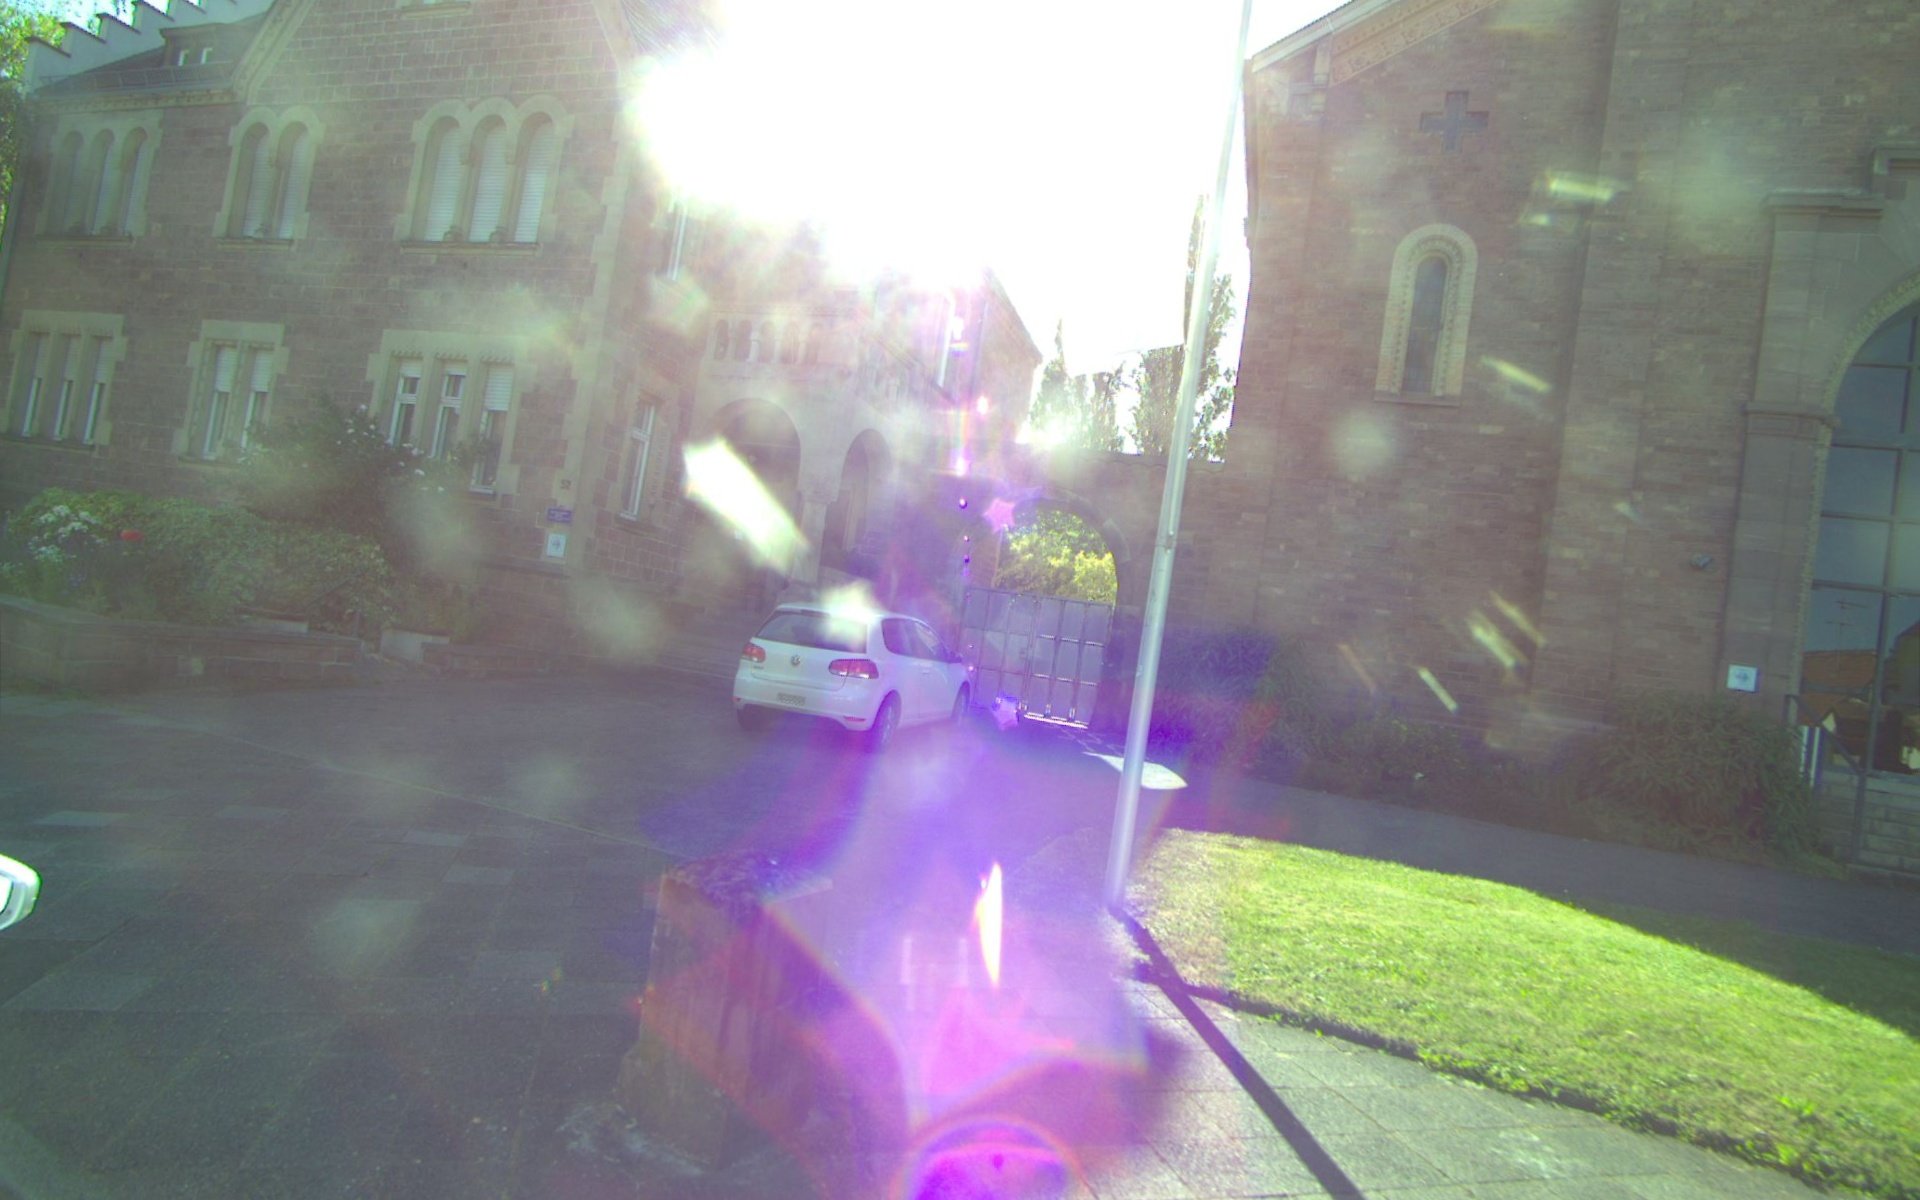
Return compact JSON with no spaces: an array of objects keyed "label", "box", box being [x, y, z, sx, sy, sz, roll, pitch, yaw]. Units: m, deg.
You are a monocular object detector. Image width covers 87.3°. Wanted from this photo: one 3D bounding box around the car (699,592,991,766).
[{"label":"car","box":[-1.141,0.859,11.961,1.869,1.514,3.911,6,-1,18]}]
